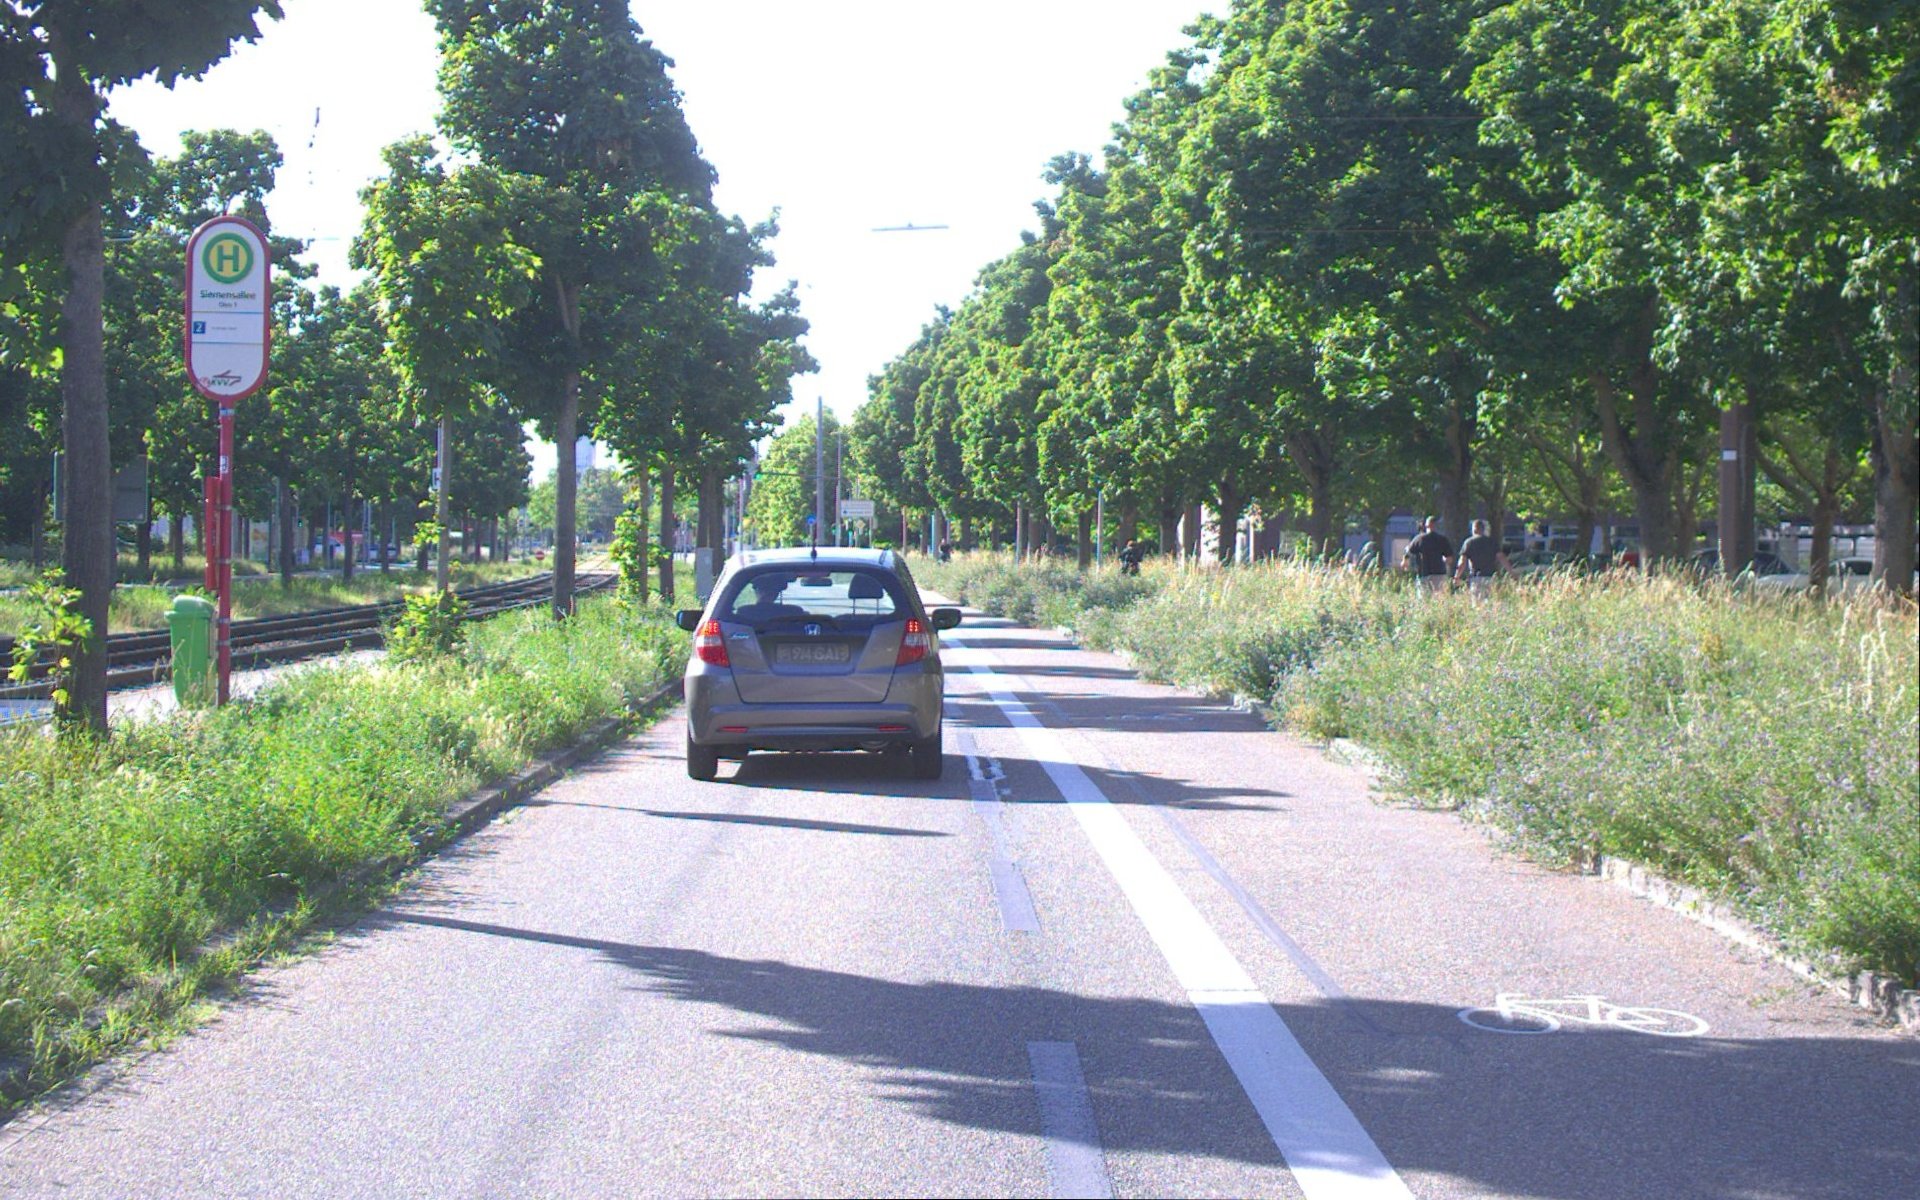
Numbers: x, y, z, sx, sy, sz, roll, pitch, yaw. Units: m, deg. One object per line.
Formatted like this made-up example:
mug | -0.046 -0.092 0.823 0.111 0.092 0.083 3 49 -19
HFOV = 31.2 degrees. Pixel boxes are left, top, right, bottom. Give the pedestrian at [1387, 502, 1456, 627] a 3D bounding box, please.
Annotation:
pedestrian | 7.045 -0.543 52.534 0.882 1.878 0.875 1 1 -2

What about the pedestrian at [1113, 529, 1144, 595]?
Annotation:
pedestrian | 4.347 -0.977 88.633 0.725 1.685 0.821 1 1 -1

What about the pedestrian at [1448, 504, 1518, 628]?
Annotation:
pedestrian | 7.985 -0.518 52.526 0.882 1.878 0.875 1 1 -2

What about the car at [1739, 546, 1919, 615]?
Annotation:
car | 20.774 -0.463 80.273 4.630 1.550 2.000 1 1 -5

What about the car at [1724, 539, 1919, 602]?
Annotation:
car | 22.162 -0.756 88.071 4.630 1.550 2.000 1 1 -5

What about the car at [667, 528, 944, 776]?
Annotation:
car | -1.086 0.341 23.549 1.701 1.518 3.710 2 0 -3
